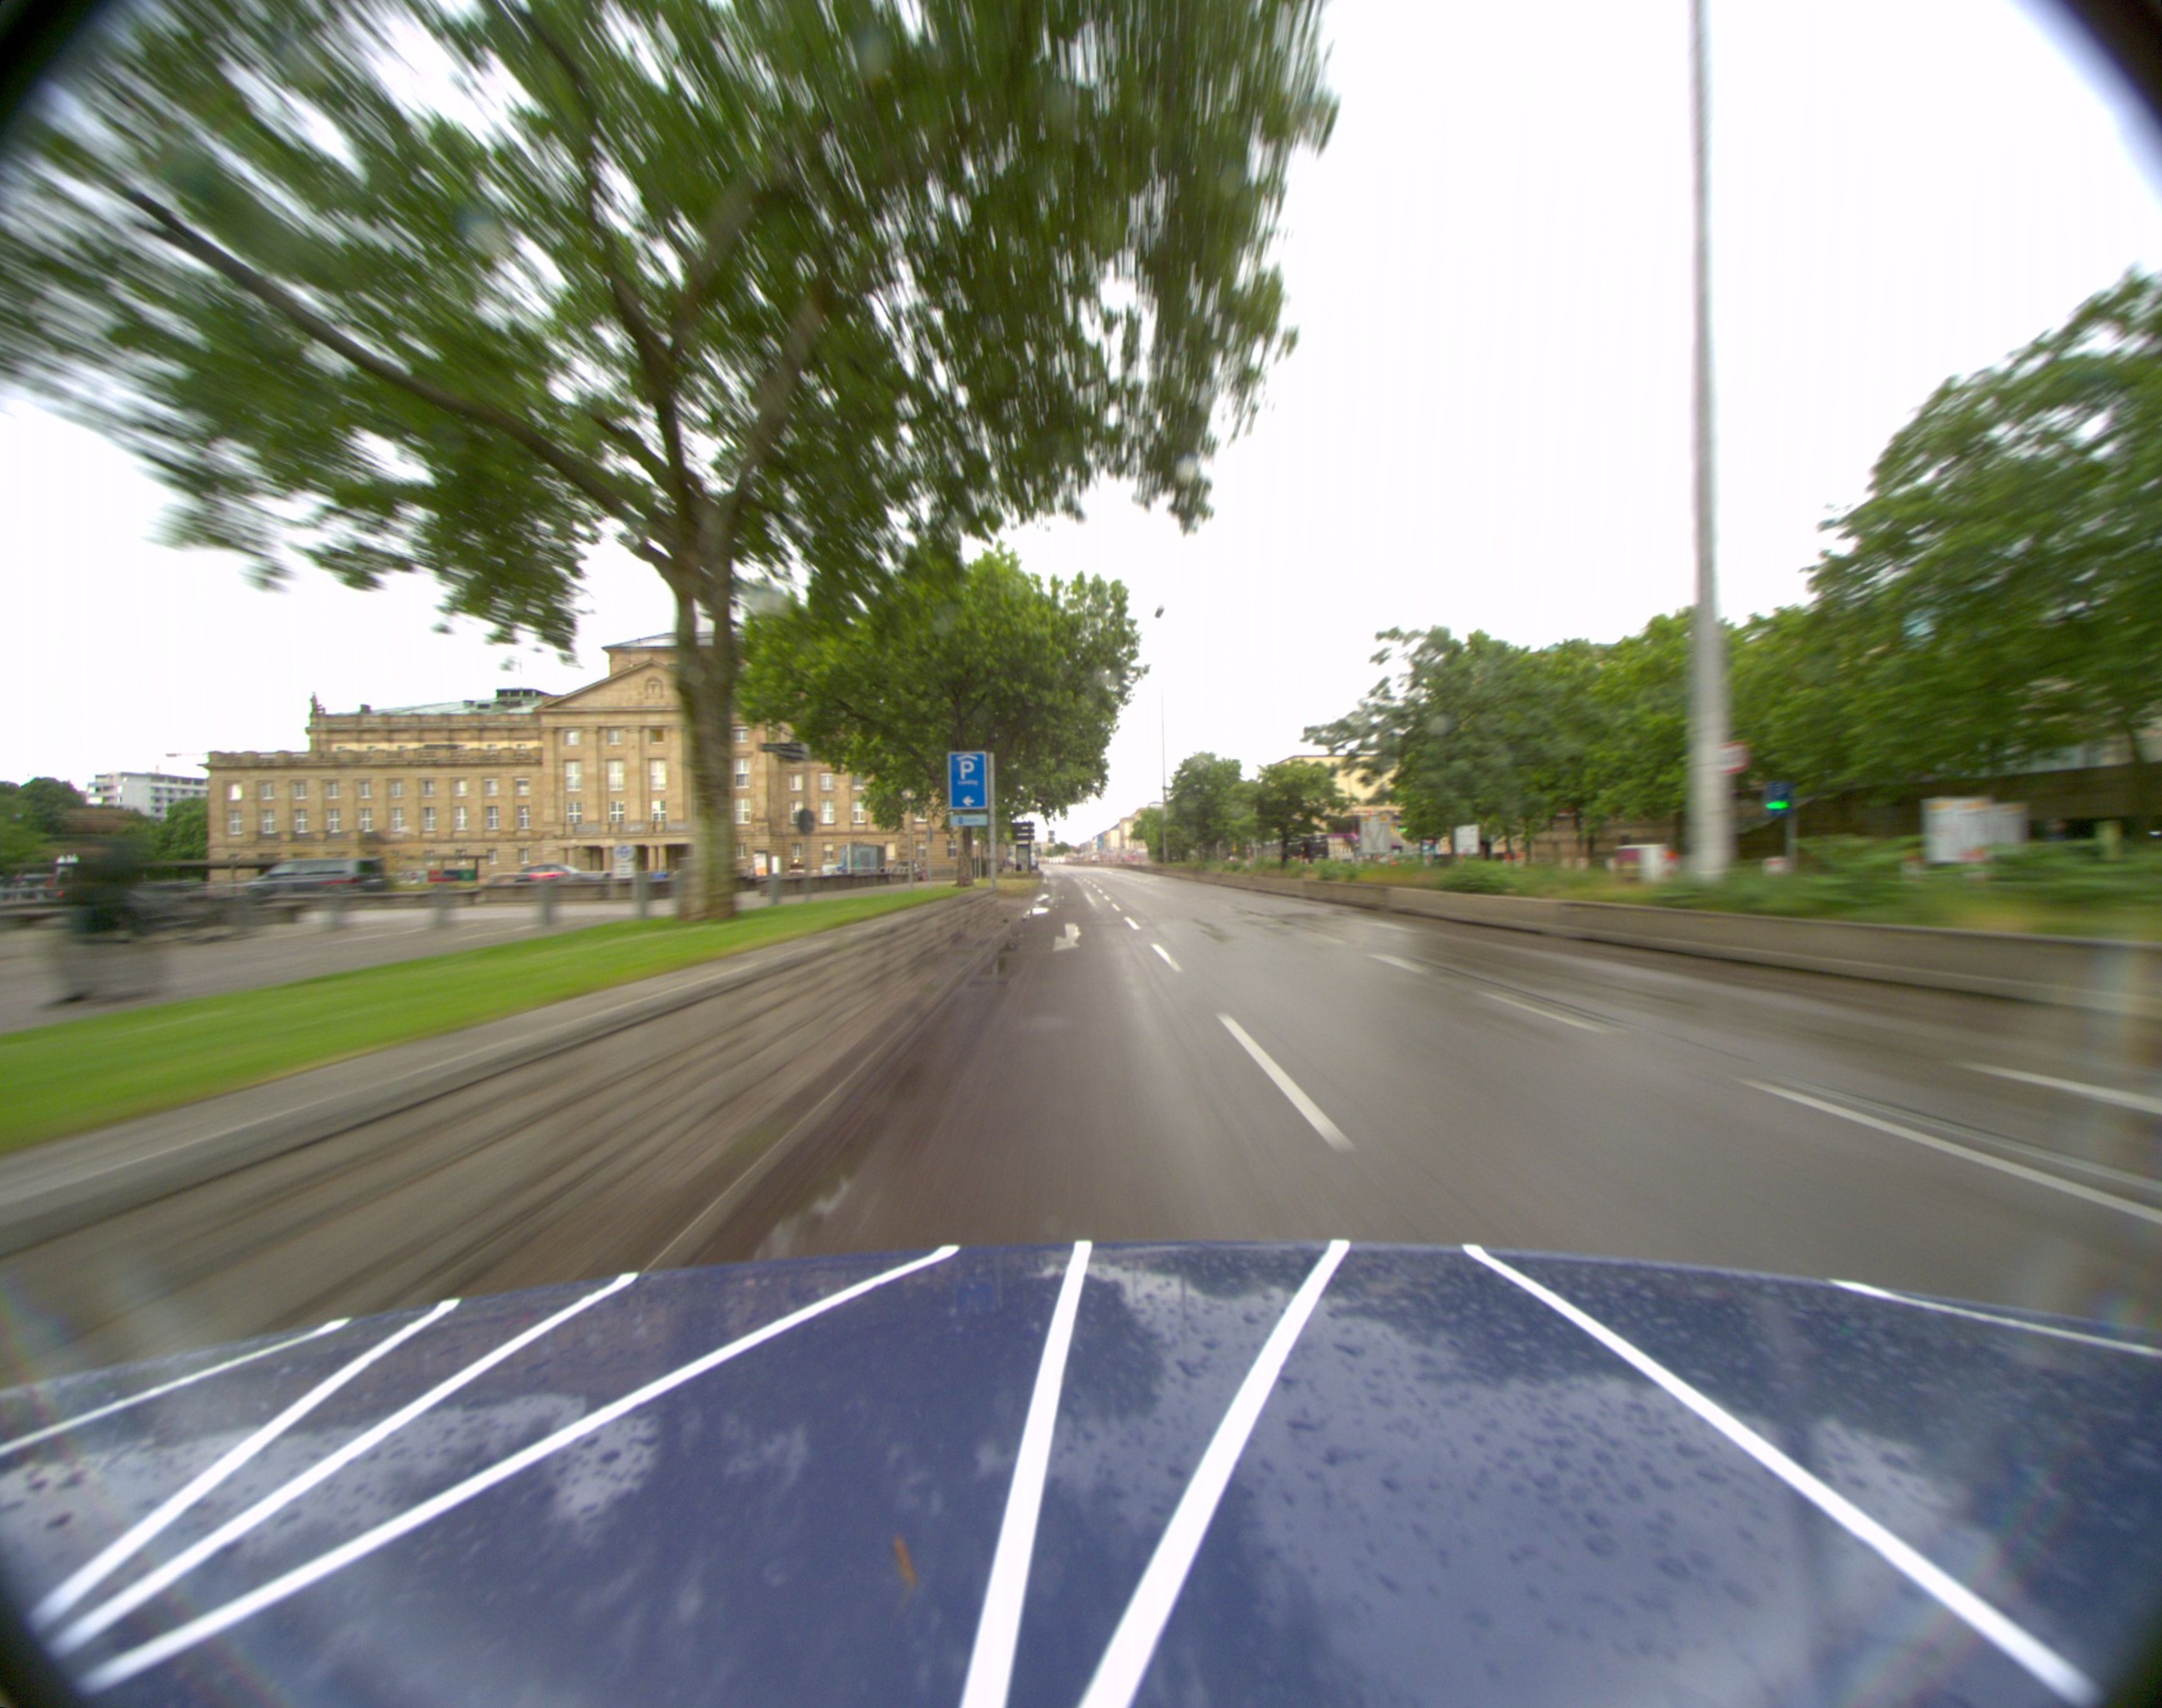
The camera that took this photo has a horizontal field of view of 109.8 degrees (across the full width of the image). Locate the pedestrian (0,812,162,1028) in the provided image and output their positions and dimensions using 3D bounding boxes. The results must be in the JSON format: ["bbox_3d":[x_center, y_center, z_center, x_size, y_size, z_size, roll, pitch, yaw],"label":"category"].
[{"bbox_3d":[-8.448,0.523,6.337,0.707,1.708,0.692,0,0,-1],"label":"pedestrian"}]

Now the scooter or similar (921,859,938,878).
[{"bbox_3d":[-10.268,0.988,51.454,0.544,1.248,1.433,-1,0,-34],"label":"scooter or similar"}]

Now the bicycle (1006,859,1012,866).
[{"bbox_3d":[-11.167,1.282,117.647,0.714,1.045,1.739,-2,1,-8],"label":"bicycle"}]

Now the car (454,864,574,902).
[{"bbox_3d":[-24.647,1.234,33.115,3.997,1.590,1.656,0,0,0],"label":"car"}]

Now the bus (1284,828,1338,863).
[{"bbox_3d":[30.506,-1.063,101.561,3.126,4.227,13.493,-3,0,0],"label":"bus"}]

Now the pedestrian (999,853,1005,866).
[{"bbox_3d":[-11.194,0.782,108.171,0.797,1.767,0.642,1,1,-3],"label":"pedestrian"}]

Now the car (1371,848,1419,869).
[{"bbox_3d":[23.954,0.292,58.082,1.999,1.521,3.999,0,1,-1],"label":"car"}]

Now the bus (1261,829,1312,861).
[{"bbox_3d":[27.068,-1.147,100.818,2.811,3.789,14.596,-3,0,1],"label":"bus"}]

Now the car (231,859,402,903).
[{"bbox_3d":[-34.554,1.179,34.494,5.021,1.753,2.459,-2,0,-5],"label":"car"}]

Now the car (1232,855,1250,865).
[{"bbox_3d":[23.319,0.867,111.019,1.596,1.492,3.212,-2,1,-6],"label":"car"}]

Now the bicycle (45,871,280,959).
[{"bbox_3d":[-13.482,0.861,11.234,2.041,1.167,0.959,-1,0,-12],"label":"bicycle"}]

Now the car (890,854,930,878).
[{"bbox_3d":[-12.400,0.883,55.437,1.999,1.600,5.235,-2,-1,-4],"label":"car"}]

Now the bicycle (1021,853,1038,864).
[{"bbox_3d":[-5.965,0.523,88.829,1.911,1.325,0.650,-2,1,-1],"label":"bicycle"}]

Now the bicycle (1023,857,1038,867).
[{"bbox_3d":[-5.996,0.955,89.614,1.683,1.084,0.650,-2,1,-1],"label":"bicycle"}]
